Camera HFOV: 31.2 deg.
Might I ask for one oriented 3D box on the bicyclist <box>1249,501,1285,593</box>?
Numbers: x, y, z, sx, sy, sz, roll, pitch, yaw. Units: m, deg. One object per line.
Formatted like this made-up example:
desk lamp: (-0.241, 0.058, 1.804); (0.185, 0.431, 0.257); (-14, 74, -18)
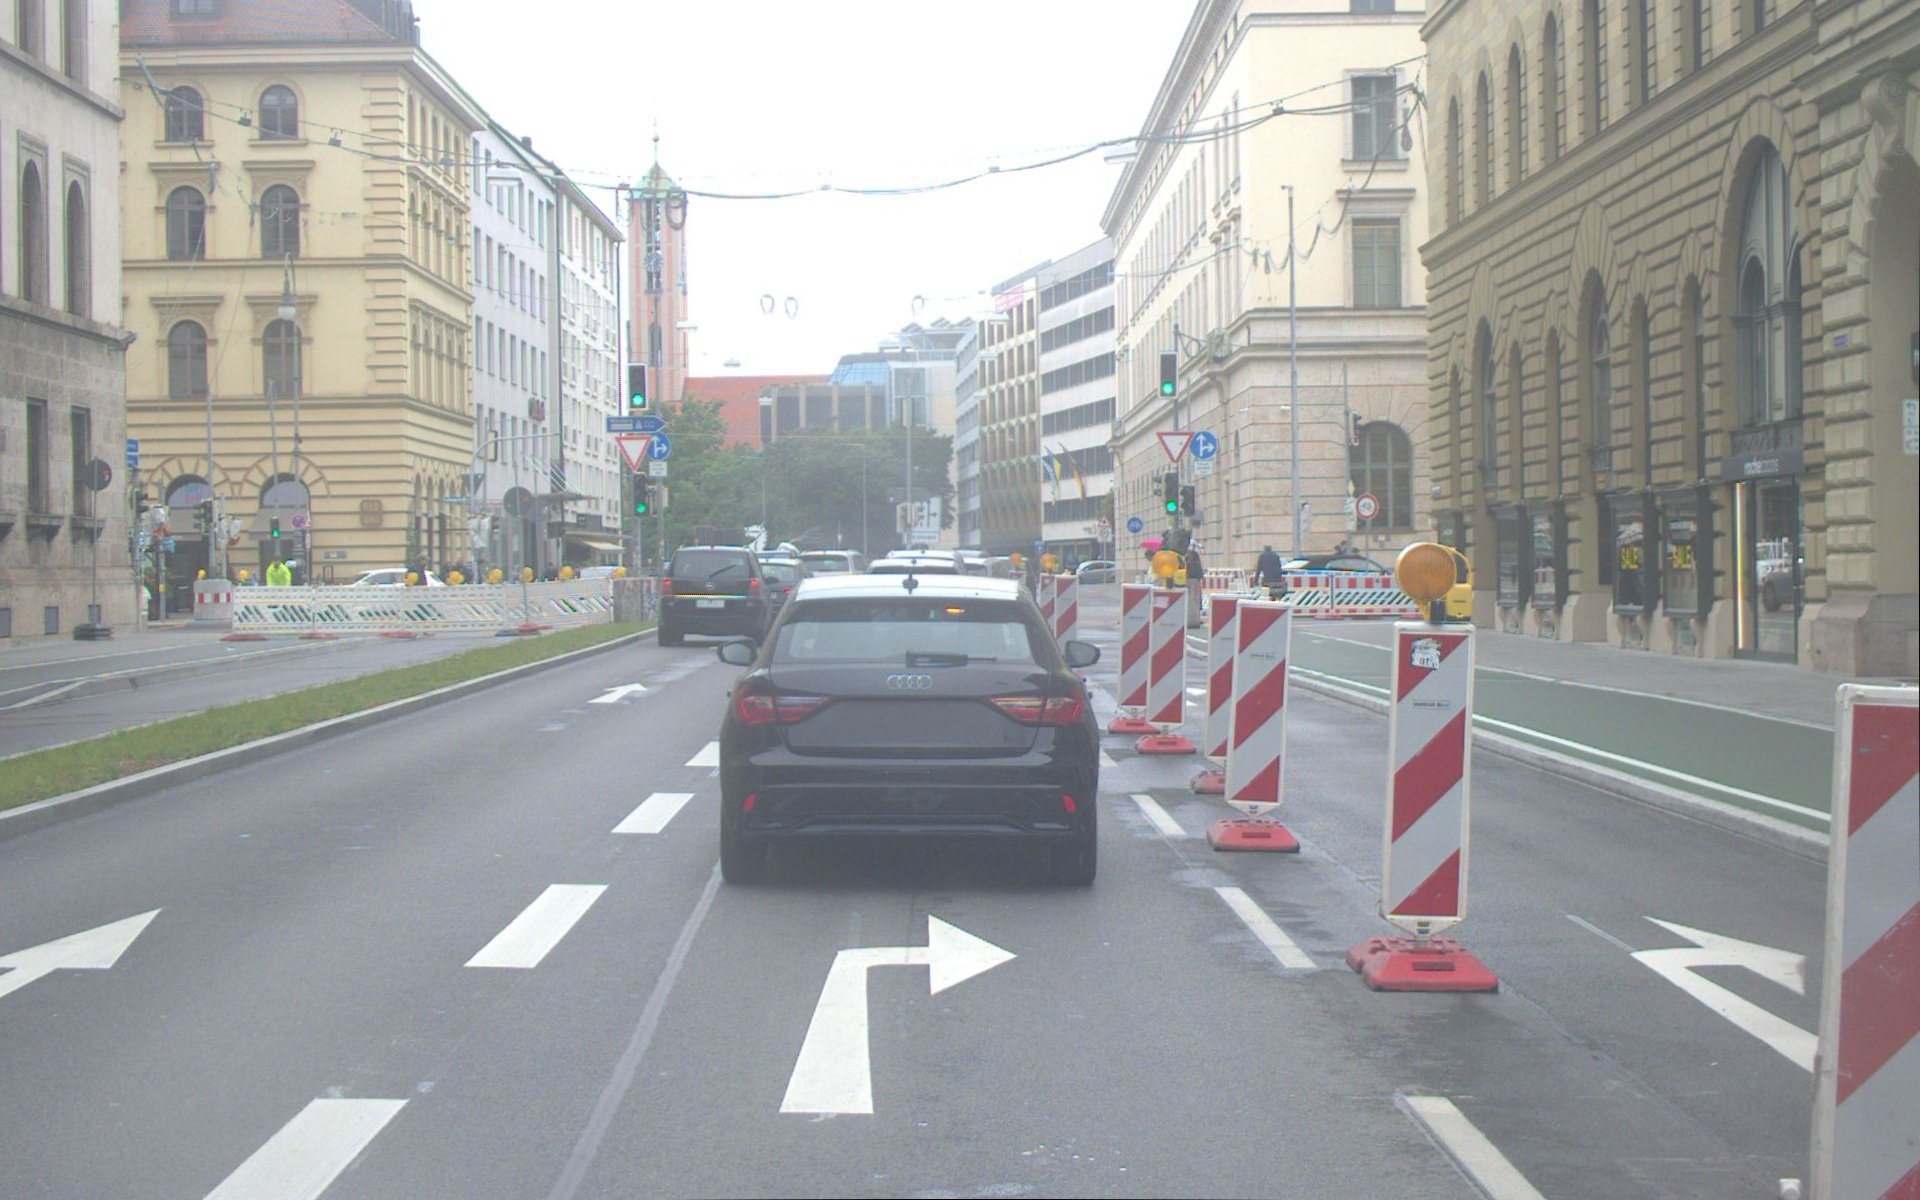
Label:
bicyclist: (6.225, -1.073, 69.681); (0.566, 1.847, 0.799); (1, 1, -5)

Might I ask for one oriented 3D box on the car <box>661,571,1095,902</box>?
car: (-0.381, 0.574, 16.834); (1.863, 1.383, 4.000); (0, 1, -1)

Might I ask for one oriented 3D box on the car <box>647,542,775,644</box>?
car: (-4.047, -0.145, 56.397); (1.865, 1.596, 3.851); (-1, 1, -1)

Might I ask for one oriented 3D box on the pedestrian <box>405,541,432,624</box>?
pedestrian: (-11.414, -0.377, 72.442); (0.512, 1.737, 1.043); (0, 1, -10)

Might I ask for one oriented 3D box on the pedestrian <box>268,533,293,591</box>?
pedestrian: (-20.832, -1.180, 105.433); (0.733, 1.766, 0.739); (0, 1, -10)

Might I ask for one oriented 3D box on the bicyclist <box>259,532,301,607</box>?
bicyclist: (-15.858, -0.708, 80.149); (0.798, 1.742, 0.689); (1, 1, 3)

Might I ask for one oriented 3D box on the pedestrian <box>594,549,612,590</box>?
pedestrian: (-15.701, -1.346, 151.274); (0.737, 1.766, 0.736); (1, 1, -1)

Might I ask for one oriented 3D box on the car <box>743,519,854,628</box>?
car: (-3.058, -0.520, 65.779); (1.993, 2.007, 4.000); (0, 1, -1)

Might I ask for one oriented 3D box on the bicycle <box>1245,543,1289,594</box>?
bicycle: (6.219, -0.640, 69.693); (0.584, 1.008, 1.657); (1, 1, -5)

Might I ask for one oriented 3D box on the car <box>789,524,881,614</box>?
car: (-2.882, -0.740, 80.023); (1.993, 2.007, 4.000); (-1, 1, 0)

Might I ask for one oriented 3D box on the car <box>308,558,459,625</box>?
car: (-16.162, -0.253, 96.436); (3.740, 1.792, 1.868); (-1, 1, -30)

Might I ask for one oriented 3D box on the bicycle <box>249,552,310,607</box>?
bicycle: (-15.865, -0.484, 80.171); (0.787, 1.238, 2.448); (1, 1, 4)

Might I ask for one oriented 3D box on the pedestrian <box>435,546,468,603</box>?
pedestrian: (-15.740, -0.786, 106.519); (0.734, 1.766, 0.738); (1, 1, 21)

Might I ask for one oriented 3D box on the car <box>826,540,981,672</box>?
car: (-0.766, 0.044, 44.199); (1.768, 1.611, 4.001); (1, 1, -4)
